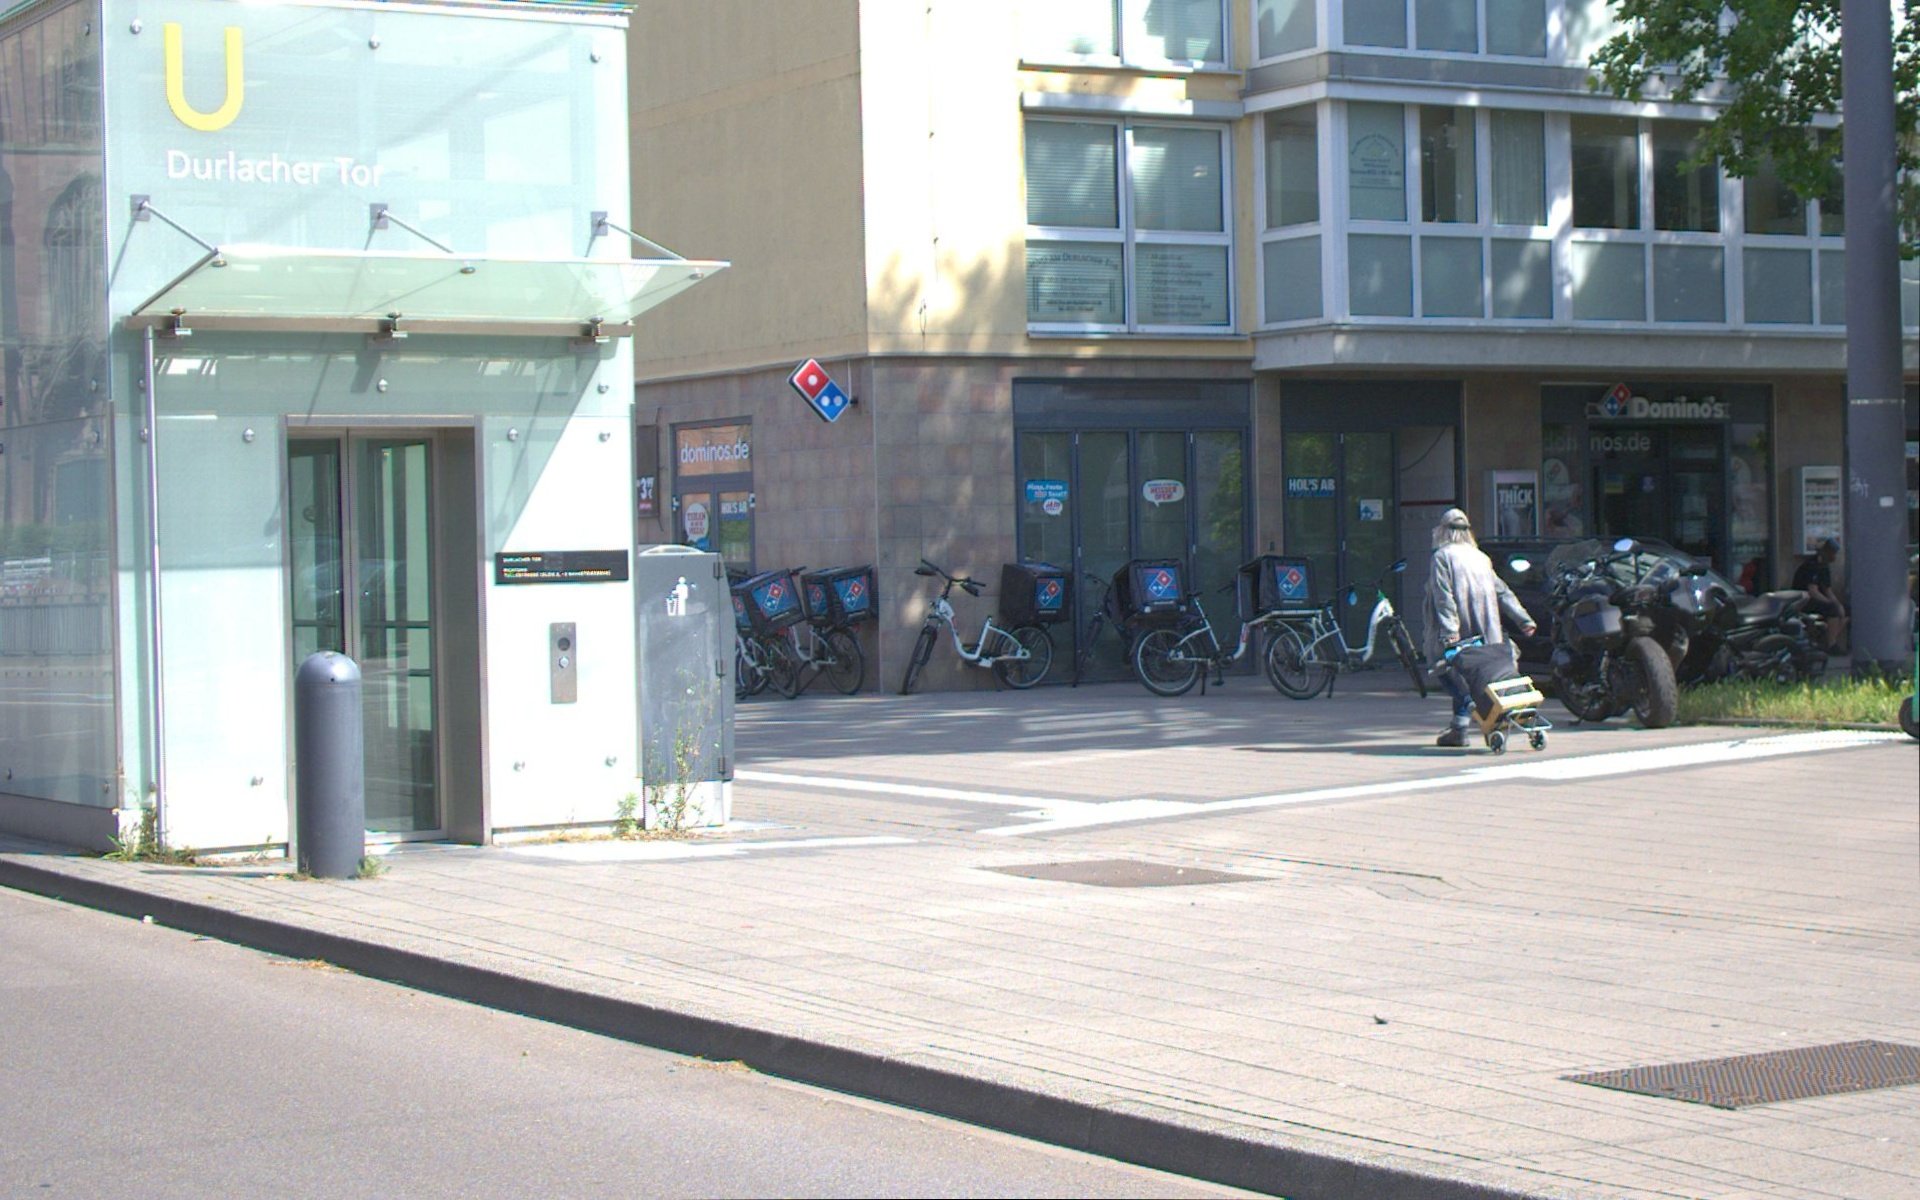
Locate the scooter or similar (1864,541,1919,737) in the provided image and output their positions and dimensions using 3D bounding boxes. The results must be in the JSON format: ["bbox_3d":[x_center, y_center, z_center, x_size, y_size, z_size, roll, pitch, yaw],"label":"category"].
[{"bbox_3d":[5.755,0.218,20.066,0.515,1.115,1.364,-1,1,-3],"label":"scooter or similar"}]

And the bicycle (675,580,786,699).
[{"bbox_3d":[-2.239,0.369,33.417,0.582,1.082,1.757,-5,2,-18],"label":"bicycle"}]

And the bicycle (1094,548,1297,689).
[{"bbox_3d":[2.192,0.163,31.938,1.750,1.215,0.584,-3,1,-20],"label":"bicycle"}]

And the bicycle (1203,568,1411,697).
[{"bbox_3d":[3.130,0.284,31.011,1.750,1.082,0.584,-3,1,-20],"label":"bicycle"}]

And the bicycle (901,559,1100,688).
[{"bbox_3d":[0.398,0.219,33.432,1.883,1.182,0.541,-2,1,-28],"label":"bicycle"}]

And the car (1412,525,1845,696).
[{"bbox_3d":[6.119,0.086,31.912,1.654,1.465,4.093,2,0,-30],"label":"car"}]

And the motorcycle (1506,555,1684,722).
[{"bbox_3d":[4.312,0.238,23.487,0.638,1.058,2.039,-2,1,-5],"label":"motorcycle"}]

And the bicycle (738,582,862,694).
[{"bbox_3d":[-1.565,0.353,33.448,0.582,1.039,1.757,-3,1,-23],"label":"bicycle"}]

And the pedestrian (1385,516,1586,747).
[{"bbox_3d":[3.279,0.206,21.511,0.654,1.399,1.117,1,-2,-34],"label":"pedestrian"}]

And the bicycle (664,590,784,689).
[{"bbox_3d":[-2.405,0.387,34.897,0.582,0.962,1.757,-3,1,-25],"label":"bicycle"}]
